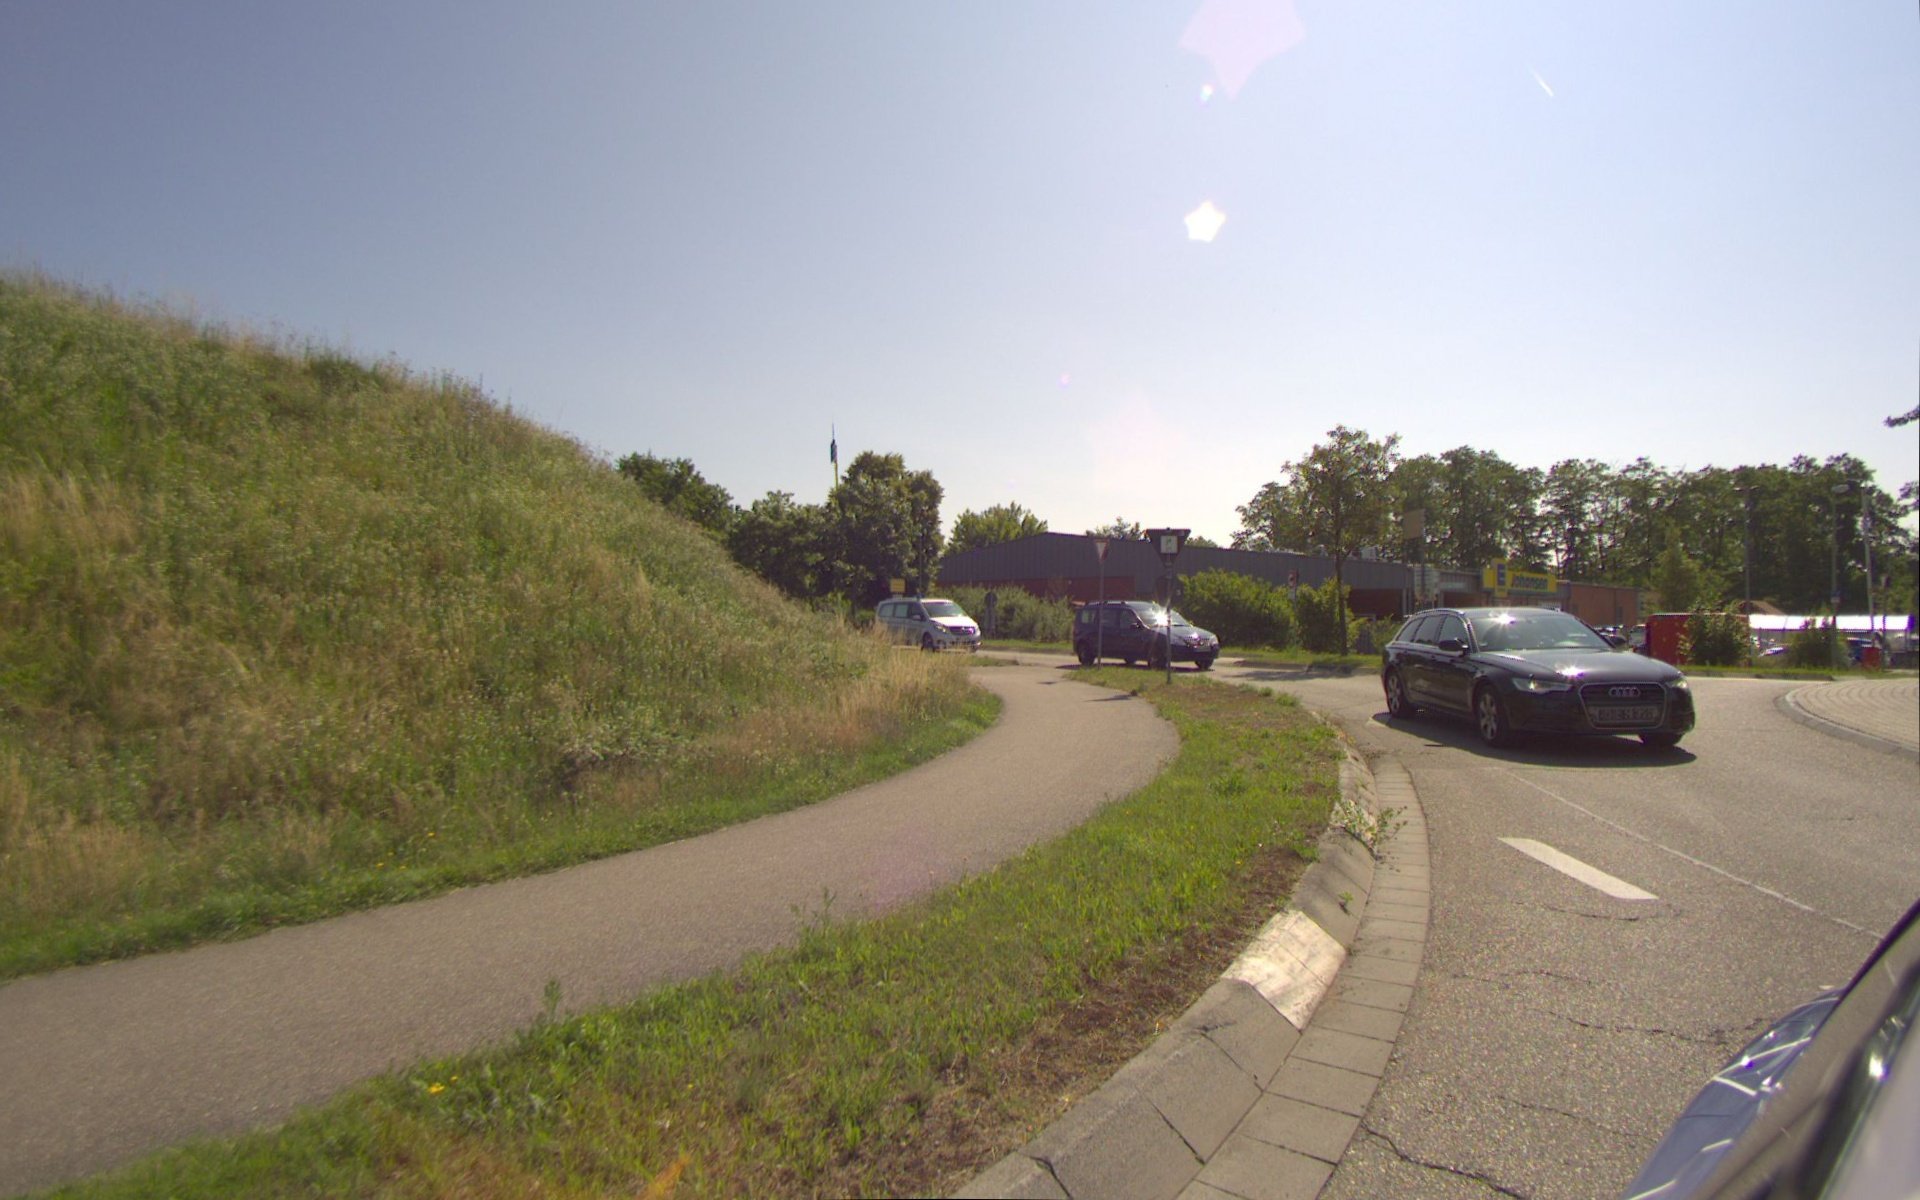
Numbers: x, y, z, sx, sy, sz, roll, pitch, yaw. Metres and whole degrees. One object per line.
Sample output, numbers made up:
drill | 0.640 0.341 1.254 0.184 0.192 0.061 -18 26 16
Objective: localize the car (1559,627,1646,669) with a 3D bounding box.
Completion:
car | 24.951 1.871 39.279 3.702 1.465 1.724 4 -3 -38

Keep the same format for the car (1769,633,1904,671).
car | 40.343 2.357 46.679 1.684 1.592 4.425 3 -2 -37

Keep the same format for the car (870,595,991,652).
car | -1.154 0.807 35.997 1.960 1.839 5.205 2 -1 -31

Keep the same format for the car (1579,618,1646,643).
car | 49.692 2.295 77.138 1.967 1.839 3.988 1 -1 -45

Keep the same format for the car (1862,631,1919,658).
car | 62.331 2.940 66.660 1.962 1.683 3.999 3 -2 -35

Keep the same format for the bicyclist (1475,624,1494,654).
bicyclist | 28.089 2.090 54.200 0.594 1.534 0.679 2 -2 -23

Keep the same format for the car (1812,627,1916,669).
car | 44.663 2.351 50.041 1.842 1.954 3.493 3 -2 -34

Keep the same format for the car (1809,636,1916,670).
car | 42.840 2.506 48.110 1.683 1.517 3.493 3 -2 -34

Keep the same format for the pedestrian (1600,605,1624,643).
pedestrian | 32.410 1.196 50.330 0.760 1.895 0.839 3 -3 -40

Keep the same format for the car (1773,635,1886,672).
car | 38.605 2.361 44.983 1.683 1.477 3.493 3 -2 -34

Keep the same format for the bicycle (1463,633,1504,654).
bicycle | 28.038 2.332 54.190 0.542 1.055 2.079 2 -2 -23

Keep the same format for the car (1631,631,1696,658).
car | 57.600 3.640 82.891 1.964 2.039 3.994 2 -2 -40

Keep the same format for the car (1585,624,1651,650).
car | 51.257 2.864 78.837 1.967 1.839 3.988 1 -1 -45

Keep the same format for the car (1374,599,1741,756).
car | 6.635 0.743 12.032 1.891 1.452 4.903 -1 0 7

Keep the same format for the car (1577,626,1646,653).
car | 48.216 2.894 74.949 1.967 1.839 3.988 1 -1 -45

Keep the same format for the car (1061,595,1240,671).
car | 4.620 0.777 25.292 1.779 1.661 4.660 -2 0 -29
